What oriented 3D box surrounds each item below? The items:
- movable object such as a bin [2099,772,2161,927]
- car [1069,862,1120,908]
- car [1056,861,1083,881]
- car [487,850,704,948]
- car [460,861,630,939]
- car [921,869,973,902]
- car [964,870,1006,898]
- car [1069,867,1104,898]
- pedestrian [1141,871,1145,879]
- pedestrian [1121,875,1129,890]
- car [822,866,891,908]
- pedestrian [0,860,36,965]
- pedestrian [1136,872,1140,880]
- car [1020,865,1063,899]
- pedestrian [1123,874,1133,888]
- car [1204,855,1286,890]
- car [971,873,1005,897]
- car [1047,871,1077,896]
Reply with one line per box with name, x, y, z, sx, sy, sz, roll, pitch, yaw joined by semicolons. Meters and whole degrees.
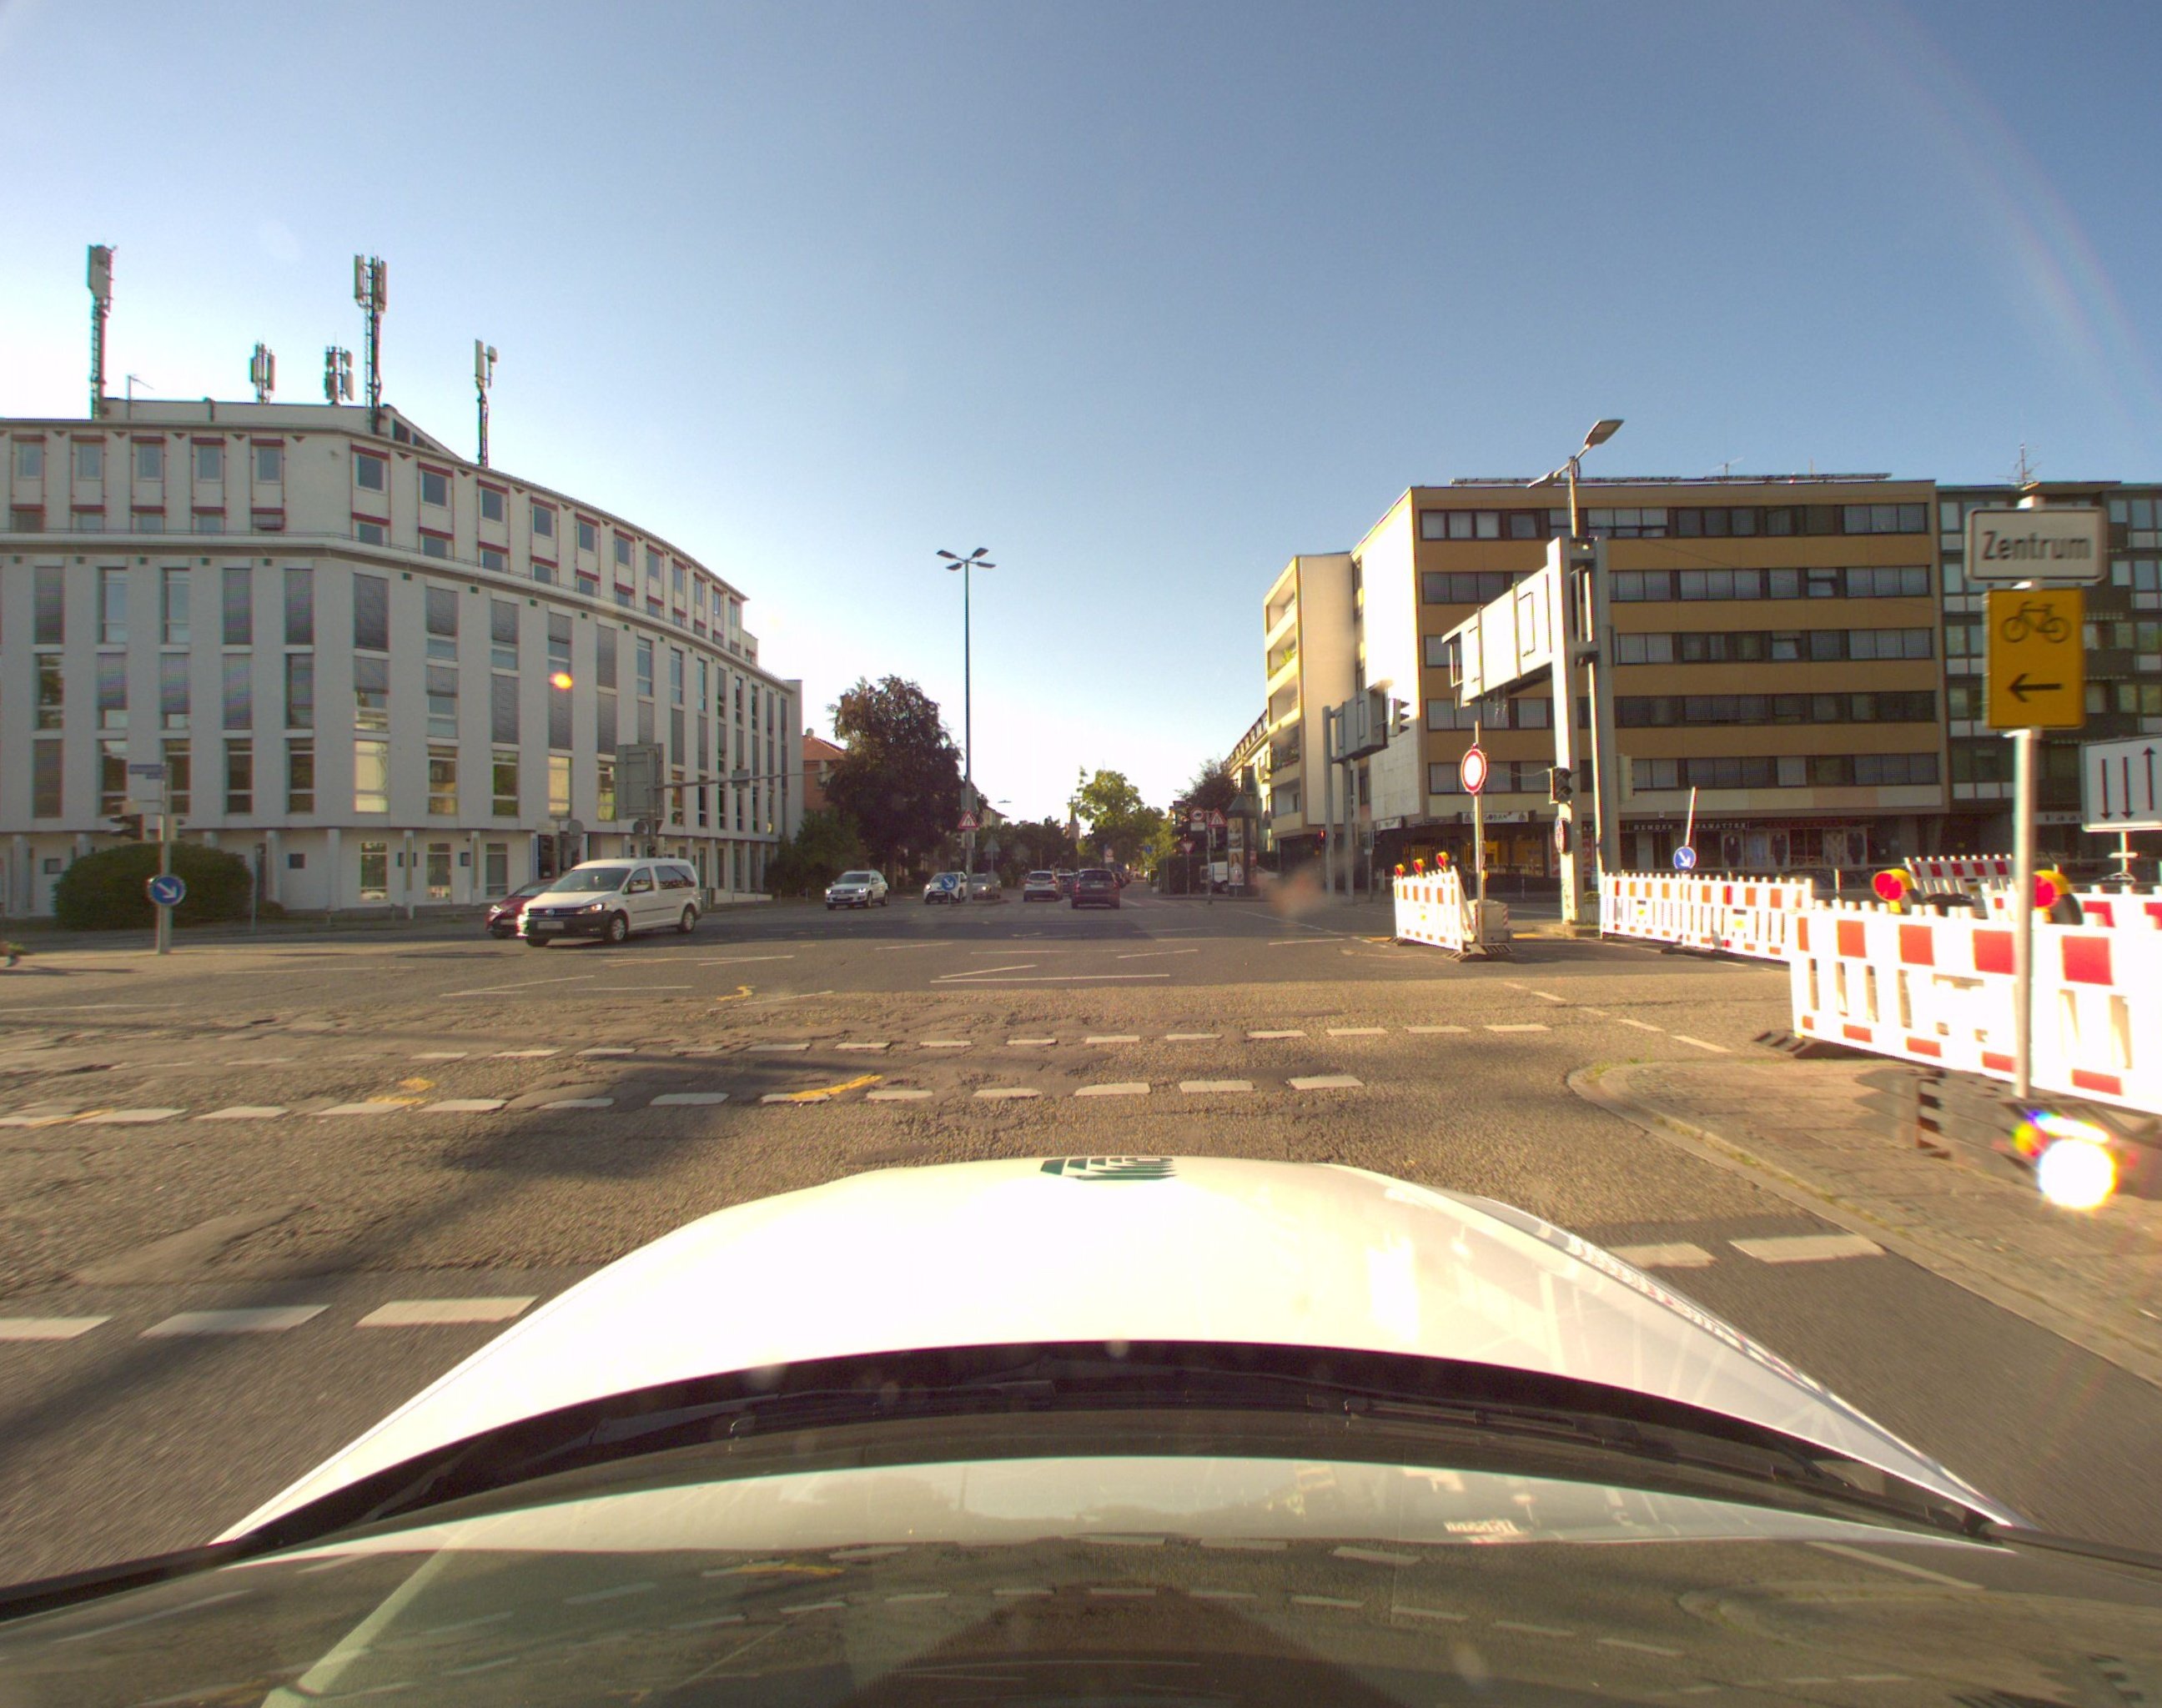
movable object such as a bin;20.063;-0.145;12.649;5.333;2.490;2.547;-1;-1;-1
car;0.571;1.087;30.271;1.741;1.564;4.052;-1;-1;3
car;-0.903;1.421;66.501;1.986;1.508;4.000;-3;-3;1
car;-10.317;0.885;17.839;1.909;1.811;4.716;-1;-1;0
car;-13.743;1.103;21.197;1.743;1.811;4.048;-1;-1;-1
car;-6.480;1.490;39.696;1.842;1.461;4.048;-1;-1;-1
car;-5.372;1.662;45.922;1.842;1.461;4.048;-1;-1;-1
car;0.348;1.565;46.220;1.813;1.640;4.001;-1;-1;1
pedestrian;12.448;4.177;163.390;0.763;1.684;0.999;-1;-1;1
pedestrian;4.864;3.162;89.583;0.859;1.608;0.705;-1;-1;0
car;-9.698;1.385;35.503;1.874;1.654;4.048;-1;-1;-1
pedestrian;-19.577;1.053;14.485;0.620;1.868;1.134;-2;-1;30
pedestrian;11.366;4.429;162.857;0.763;1.684;0.999;-1;-1;1
car;-1.940;1.382;41.048;1.741;1.564;4.052;-1;-1;3
pedestrian;6.823;3.885;118.282;1.205;2.014;1.422;-1;-1;0
car;9.478;1.049;47.379;4.349;1.878;2.000;-1;-1;0
car;-6.366;2.078;56.101;1.872;1.508;3.998;-1;-1;-1
car;-1.302;2.033;56.126;1.741;1.564;4.052;-1;-1;3
